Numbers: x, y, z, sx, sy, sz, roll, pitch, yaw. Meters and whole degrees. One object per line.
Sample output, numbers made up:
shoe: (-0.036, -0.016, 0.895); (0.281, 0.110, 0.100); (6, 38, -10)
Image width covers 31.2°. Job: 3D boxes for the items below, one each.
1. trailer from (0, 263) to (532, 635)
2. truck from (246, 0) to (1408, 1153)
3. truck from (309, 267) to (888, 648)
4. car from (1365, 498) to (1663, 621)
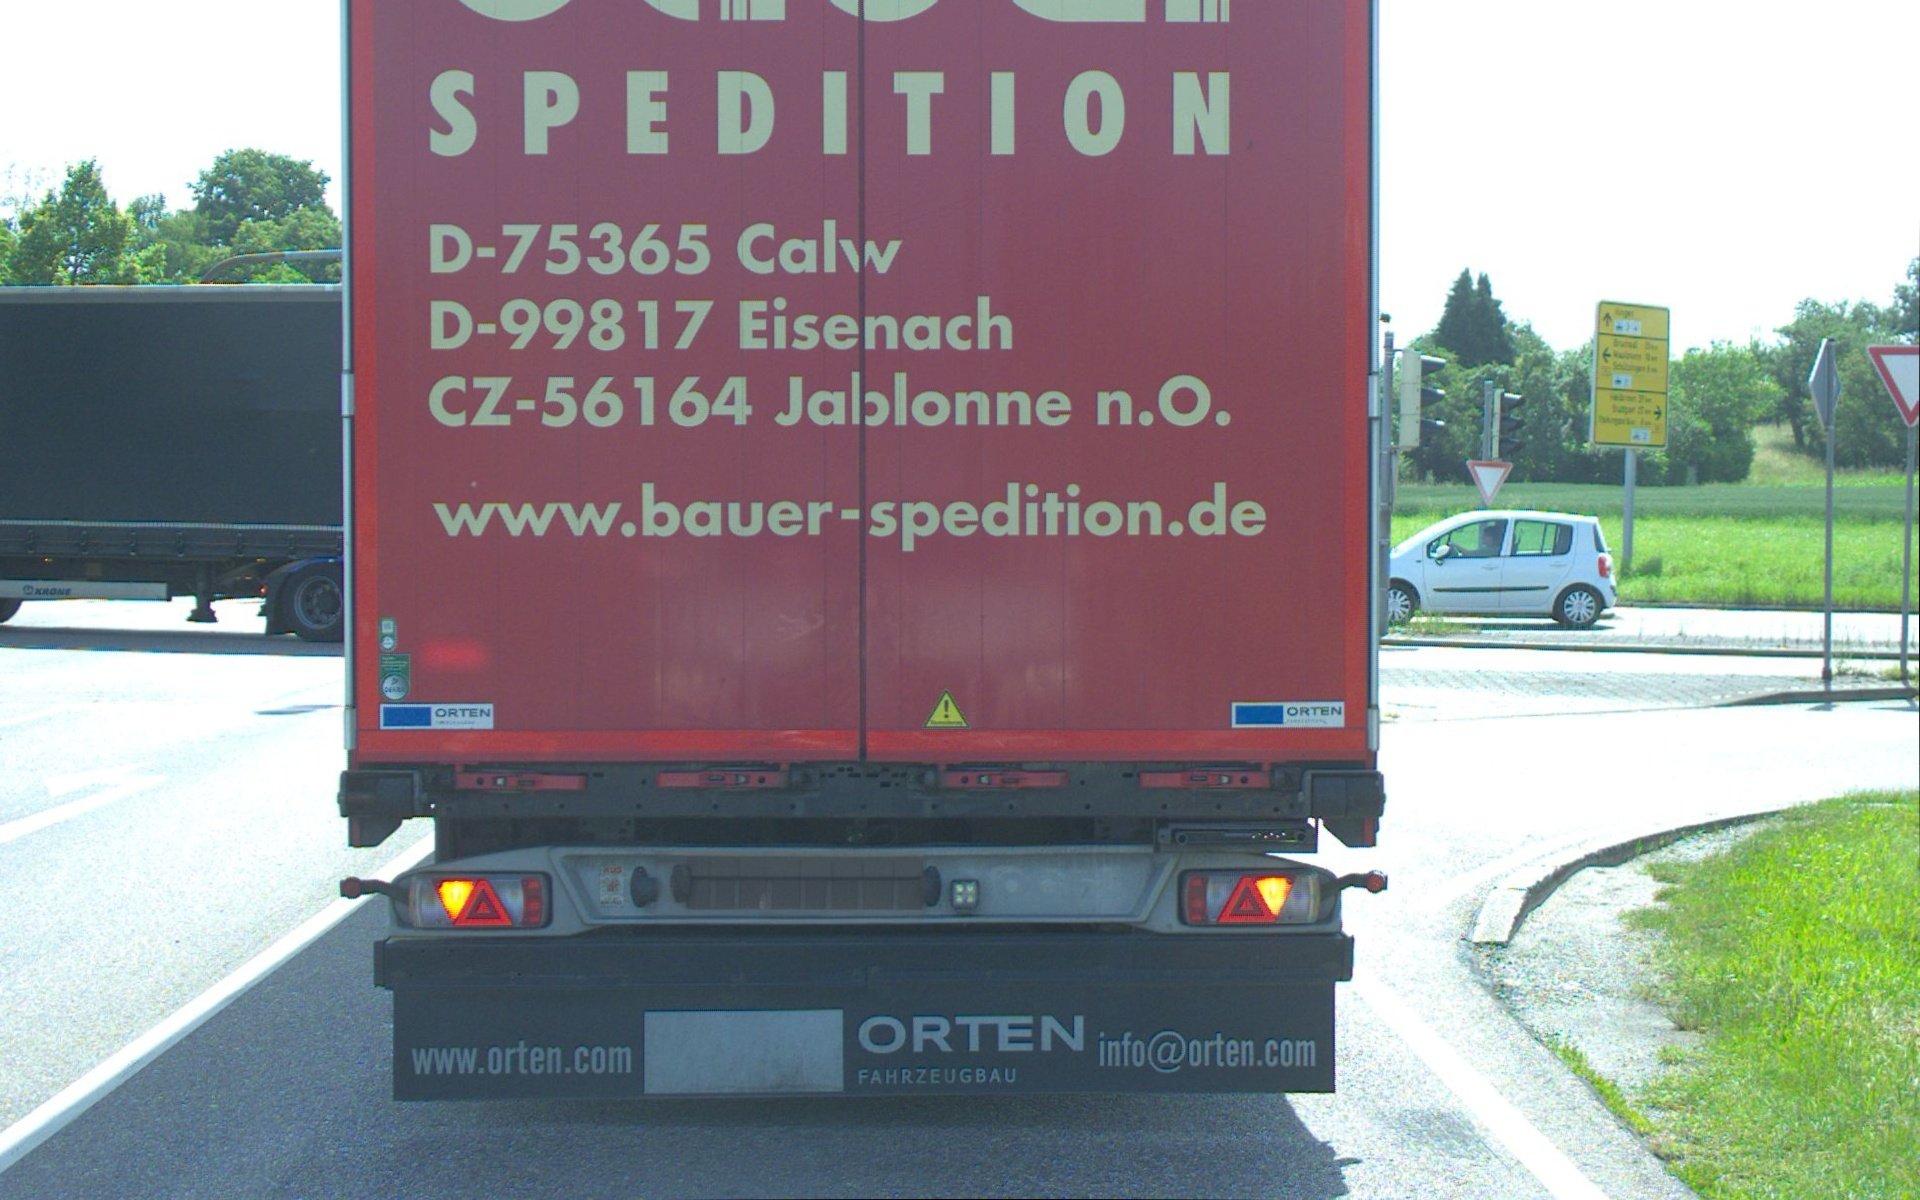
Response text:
trailer: (-11.963, -1.860, 40.858); (13.696, 4.047, 2.796); (2, 2, 18)
truck: (-0.433, -0.868, 16.463); (2.734, 3.911, 16.627); (1, 1, -1)
truck: (-4.008, -1.627, 38.622); (5.829, 4.047, 2.797); (1, 2, 13)
car: (7.540, -0.556, 47.038); (3.827, 1.628, 1.761); (0, 0, 2)
